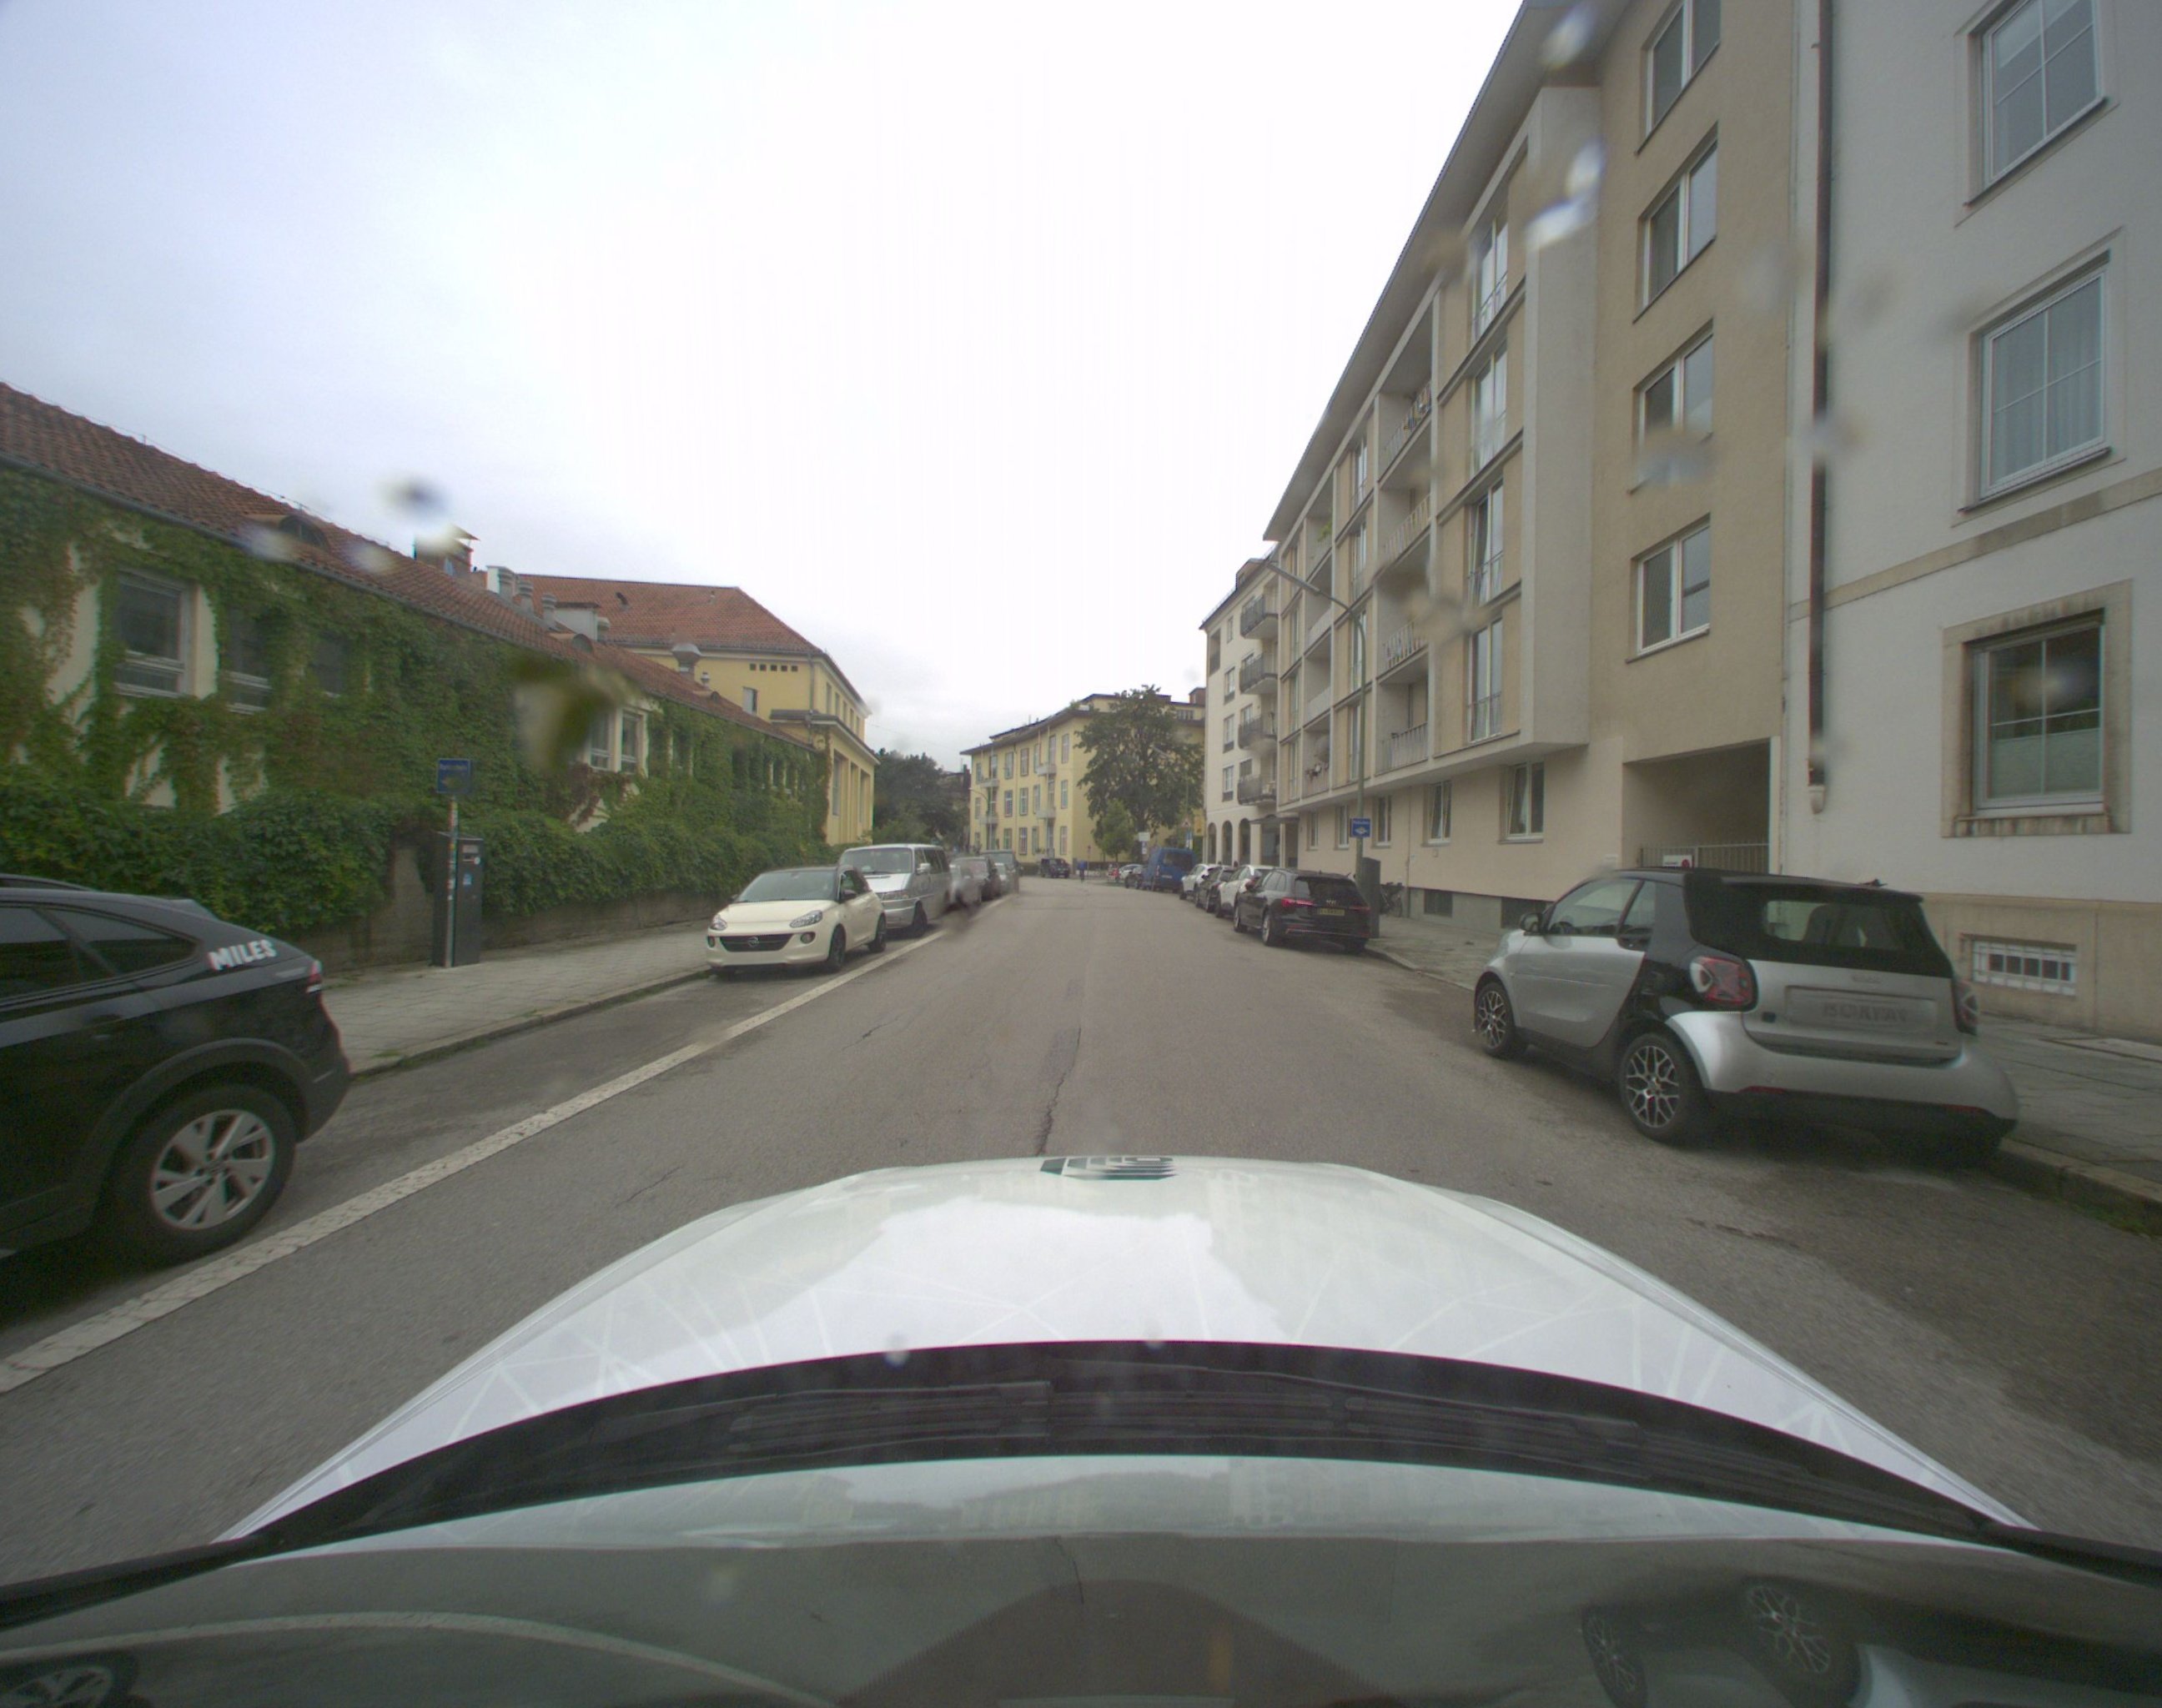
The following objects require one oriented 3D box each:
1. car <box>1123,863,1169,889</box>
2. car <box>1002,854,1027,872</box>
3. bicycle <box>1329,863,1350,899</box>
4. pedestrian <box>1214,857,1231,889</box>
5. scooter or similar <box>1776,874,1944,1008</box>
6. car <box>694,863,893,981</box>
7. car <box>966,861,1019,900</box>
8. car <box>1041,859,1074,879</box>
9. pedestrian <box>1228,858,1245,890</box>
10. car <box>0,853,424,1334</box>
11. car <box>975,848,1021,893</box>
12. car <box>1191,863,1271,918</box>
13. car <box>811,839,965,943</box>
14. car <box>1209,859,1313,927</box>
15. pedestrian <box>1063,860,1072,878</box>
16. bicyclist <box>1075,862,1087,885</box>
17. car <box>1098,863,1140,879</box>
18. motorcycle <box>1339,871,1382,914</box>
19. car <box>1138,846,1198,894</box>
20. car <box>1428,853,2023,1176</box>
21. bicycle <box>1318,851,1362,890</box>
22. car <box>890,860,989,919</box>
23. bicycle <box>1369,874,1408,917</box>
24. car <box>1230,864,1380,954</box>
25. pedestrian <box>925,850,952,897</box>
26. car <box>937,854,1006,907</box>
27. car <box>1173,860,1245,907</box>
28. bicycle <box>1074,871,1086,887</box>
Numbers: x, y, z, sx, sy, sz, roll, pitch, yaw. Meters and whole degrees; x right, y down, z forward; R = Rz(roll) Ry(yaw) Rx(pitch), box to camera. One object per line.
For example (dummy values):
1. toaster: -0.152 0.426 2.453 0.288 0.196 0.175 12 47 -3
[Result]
1. car: 3.890 1.308 49.296 1.714 1.395 3.986 4 -1 -10
2. car: -6.691 0.887 81.603 1.995 1.719 4.597 1 0 -11
3. bicycle: 8.983 0.925 28.358 0.391 1.202 1.344 -3 -1 6
4. pedestrian: 7.146 0.963 41.193 0.677 1.629 0.829 0 -1 -3
5. scooter or similar: 8.068 0.859 8.490 0.726 1.275 1.096 1 0 1
6. car: -4.098 0.888 12.225 1.661 1.409 3.559 -2 0 0
7. car: -3.550 1.024 33.306 1.701 1.365 4.000 -3 0 -1
8. car: -2.346 1.437 79.915 1.880 1.887 4.587 1 0 -20
9. pedestrian: 7.884 0.990 41.234 0.709 1.605 0.699 -1 -1 -3
10. car: -4.212 0.785 2.012 1.712 1.481 4.218 -3 0 -1
11. car: -3.893 0.736 38.770 1.922 1.979 4.616 -2 0 -4
12. car: 4.734 1.105 26.359 1.765 1.429 4.695 5 0 2
13. car: -3.889 0.672 17.364 1.886 1.798 4.882 -4 0 1
14. car: 4.573 0.933 21.274 1.697 1.468 4.119 5 0 0
15. pedestrian: -1.296 1.446 80.210 0.847 1.757 0.952 0 0 -5
16. bicyclist: -0.027 1.519 64.305 0.911 1.764 1.215 1 0 0
17. car: 3.436 1.513 73.279 3.702 1.406 1.753 1 0 0
18. motorcycle: 8.704 1.173 25.431 0.633 1.271 2.041 -1 -1 0
19. car: 4.544 0.890 43.258 2.105 2.214 5.019 5 -3 -5
20. car: 4.004 0.814 5.849 1.608 1.516 3.382 5 0 2
21. bicycle: 8.532 0.550 26.843 1.339 1.202 0.392 -2 -1 -13
22. car: -3.867 0.933 23.066 1.797 1.377 4.492 -4 -1 2
23. bicycle: 8.778 1.165 23.316 0.512 1.157 1.601 -1 -1 0
24. car: 4.231 0.964 16.119 1.820 1.381 4.493 3 0 2
25. pedestrian: -5.423 0.741 31.014 0.839 1.755 0.873 1 0 2
26. car: -3.698 0.859 28.213 1.696 1.606 4.491 -2 0 0
27. car: 4.927 1.083 31.941 1.772 1.523 4.297 5 0 -4
28. bicycle: -0.056 1.961 64.287 0.917 1.252 2.322 1 0 1
